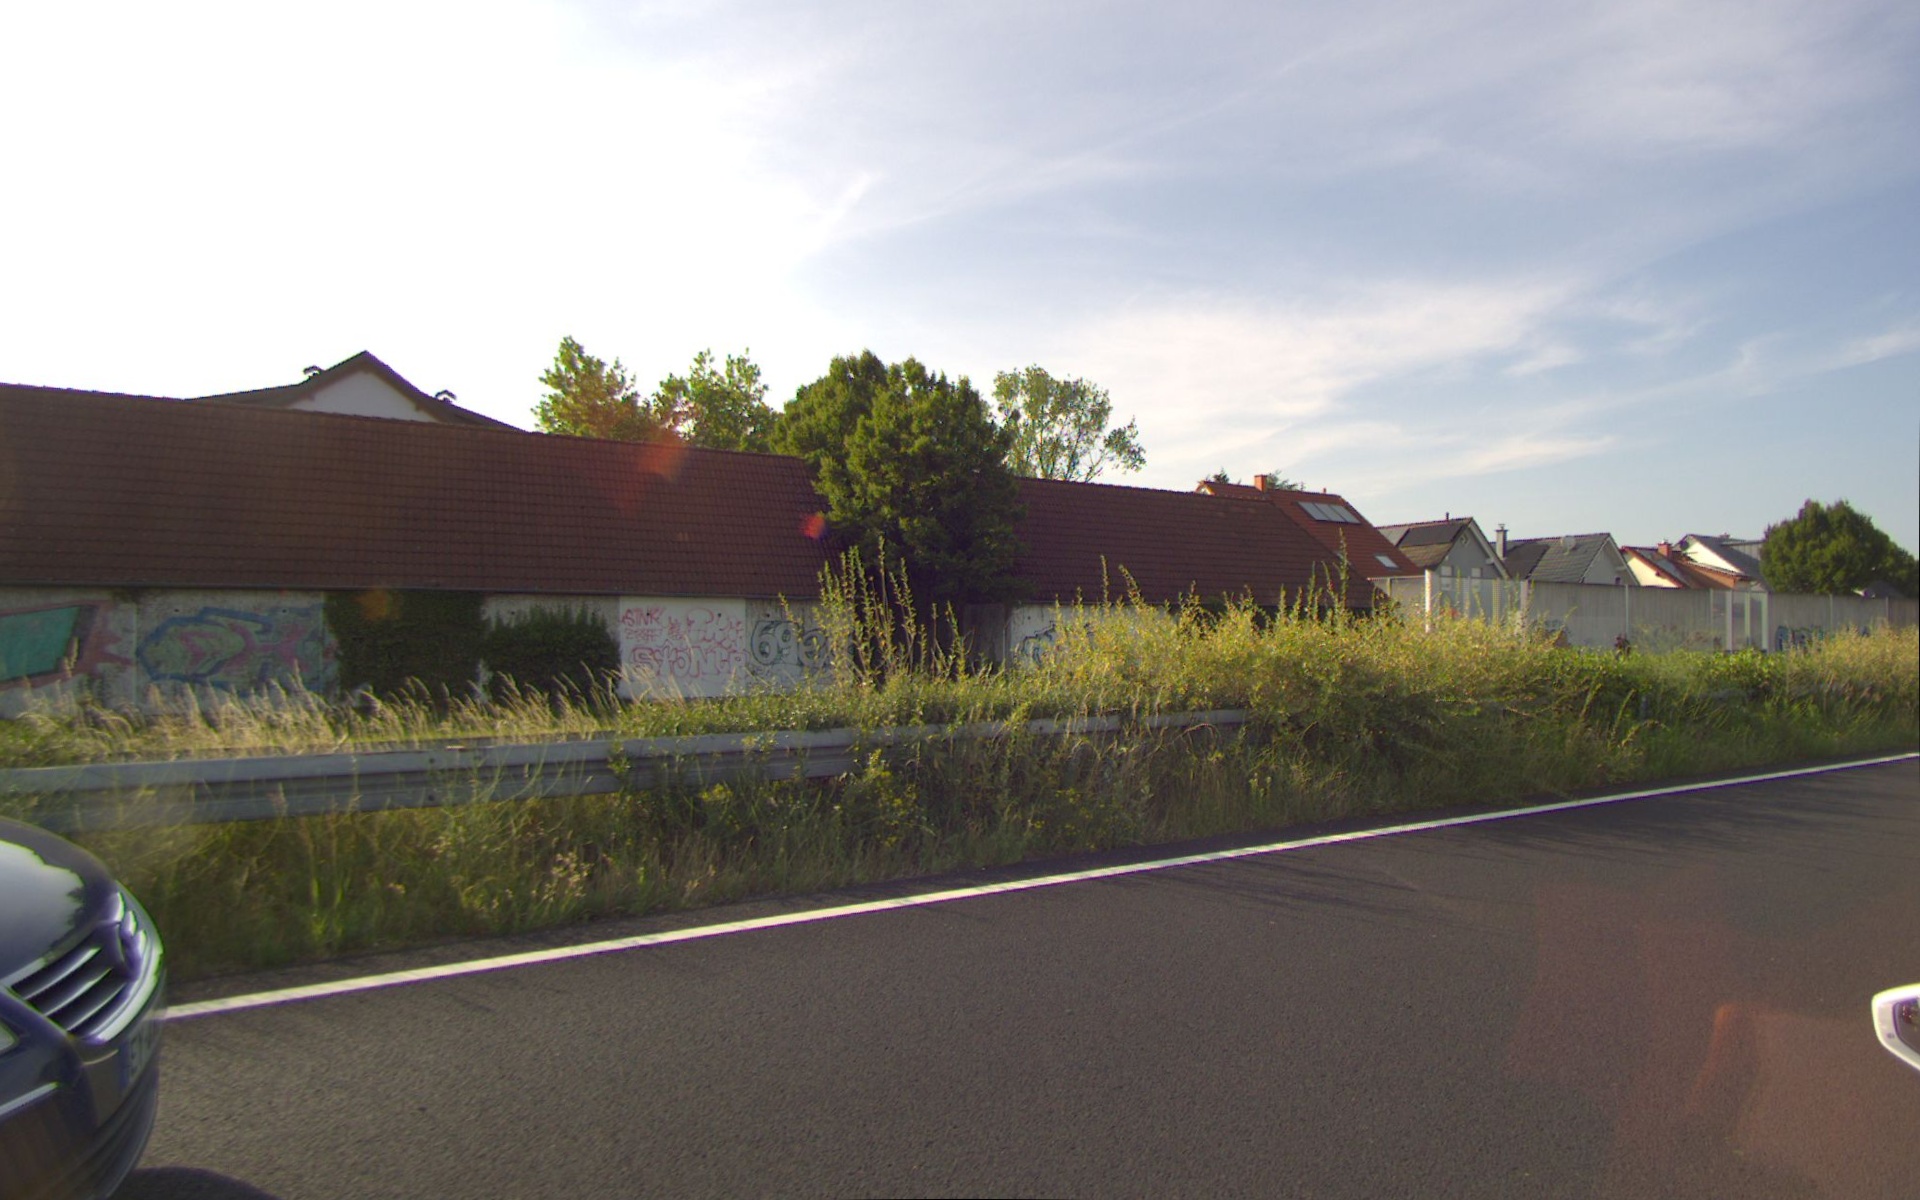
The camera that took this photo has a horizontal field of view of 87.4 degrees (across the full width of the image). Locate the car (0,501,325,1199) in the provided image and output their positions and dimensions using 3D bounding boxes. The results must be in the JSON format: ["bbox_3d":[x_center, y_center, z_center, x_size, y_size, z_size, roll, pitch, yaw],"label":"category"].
[{"bbox_3d":[-3.603,0.619,1.237,4.626,1.643,1.764,2,-1,-30],"label":"car"}]
